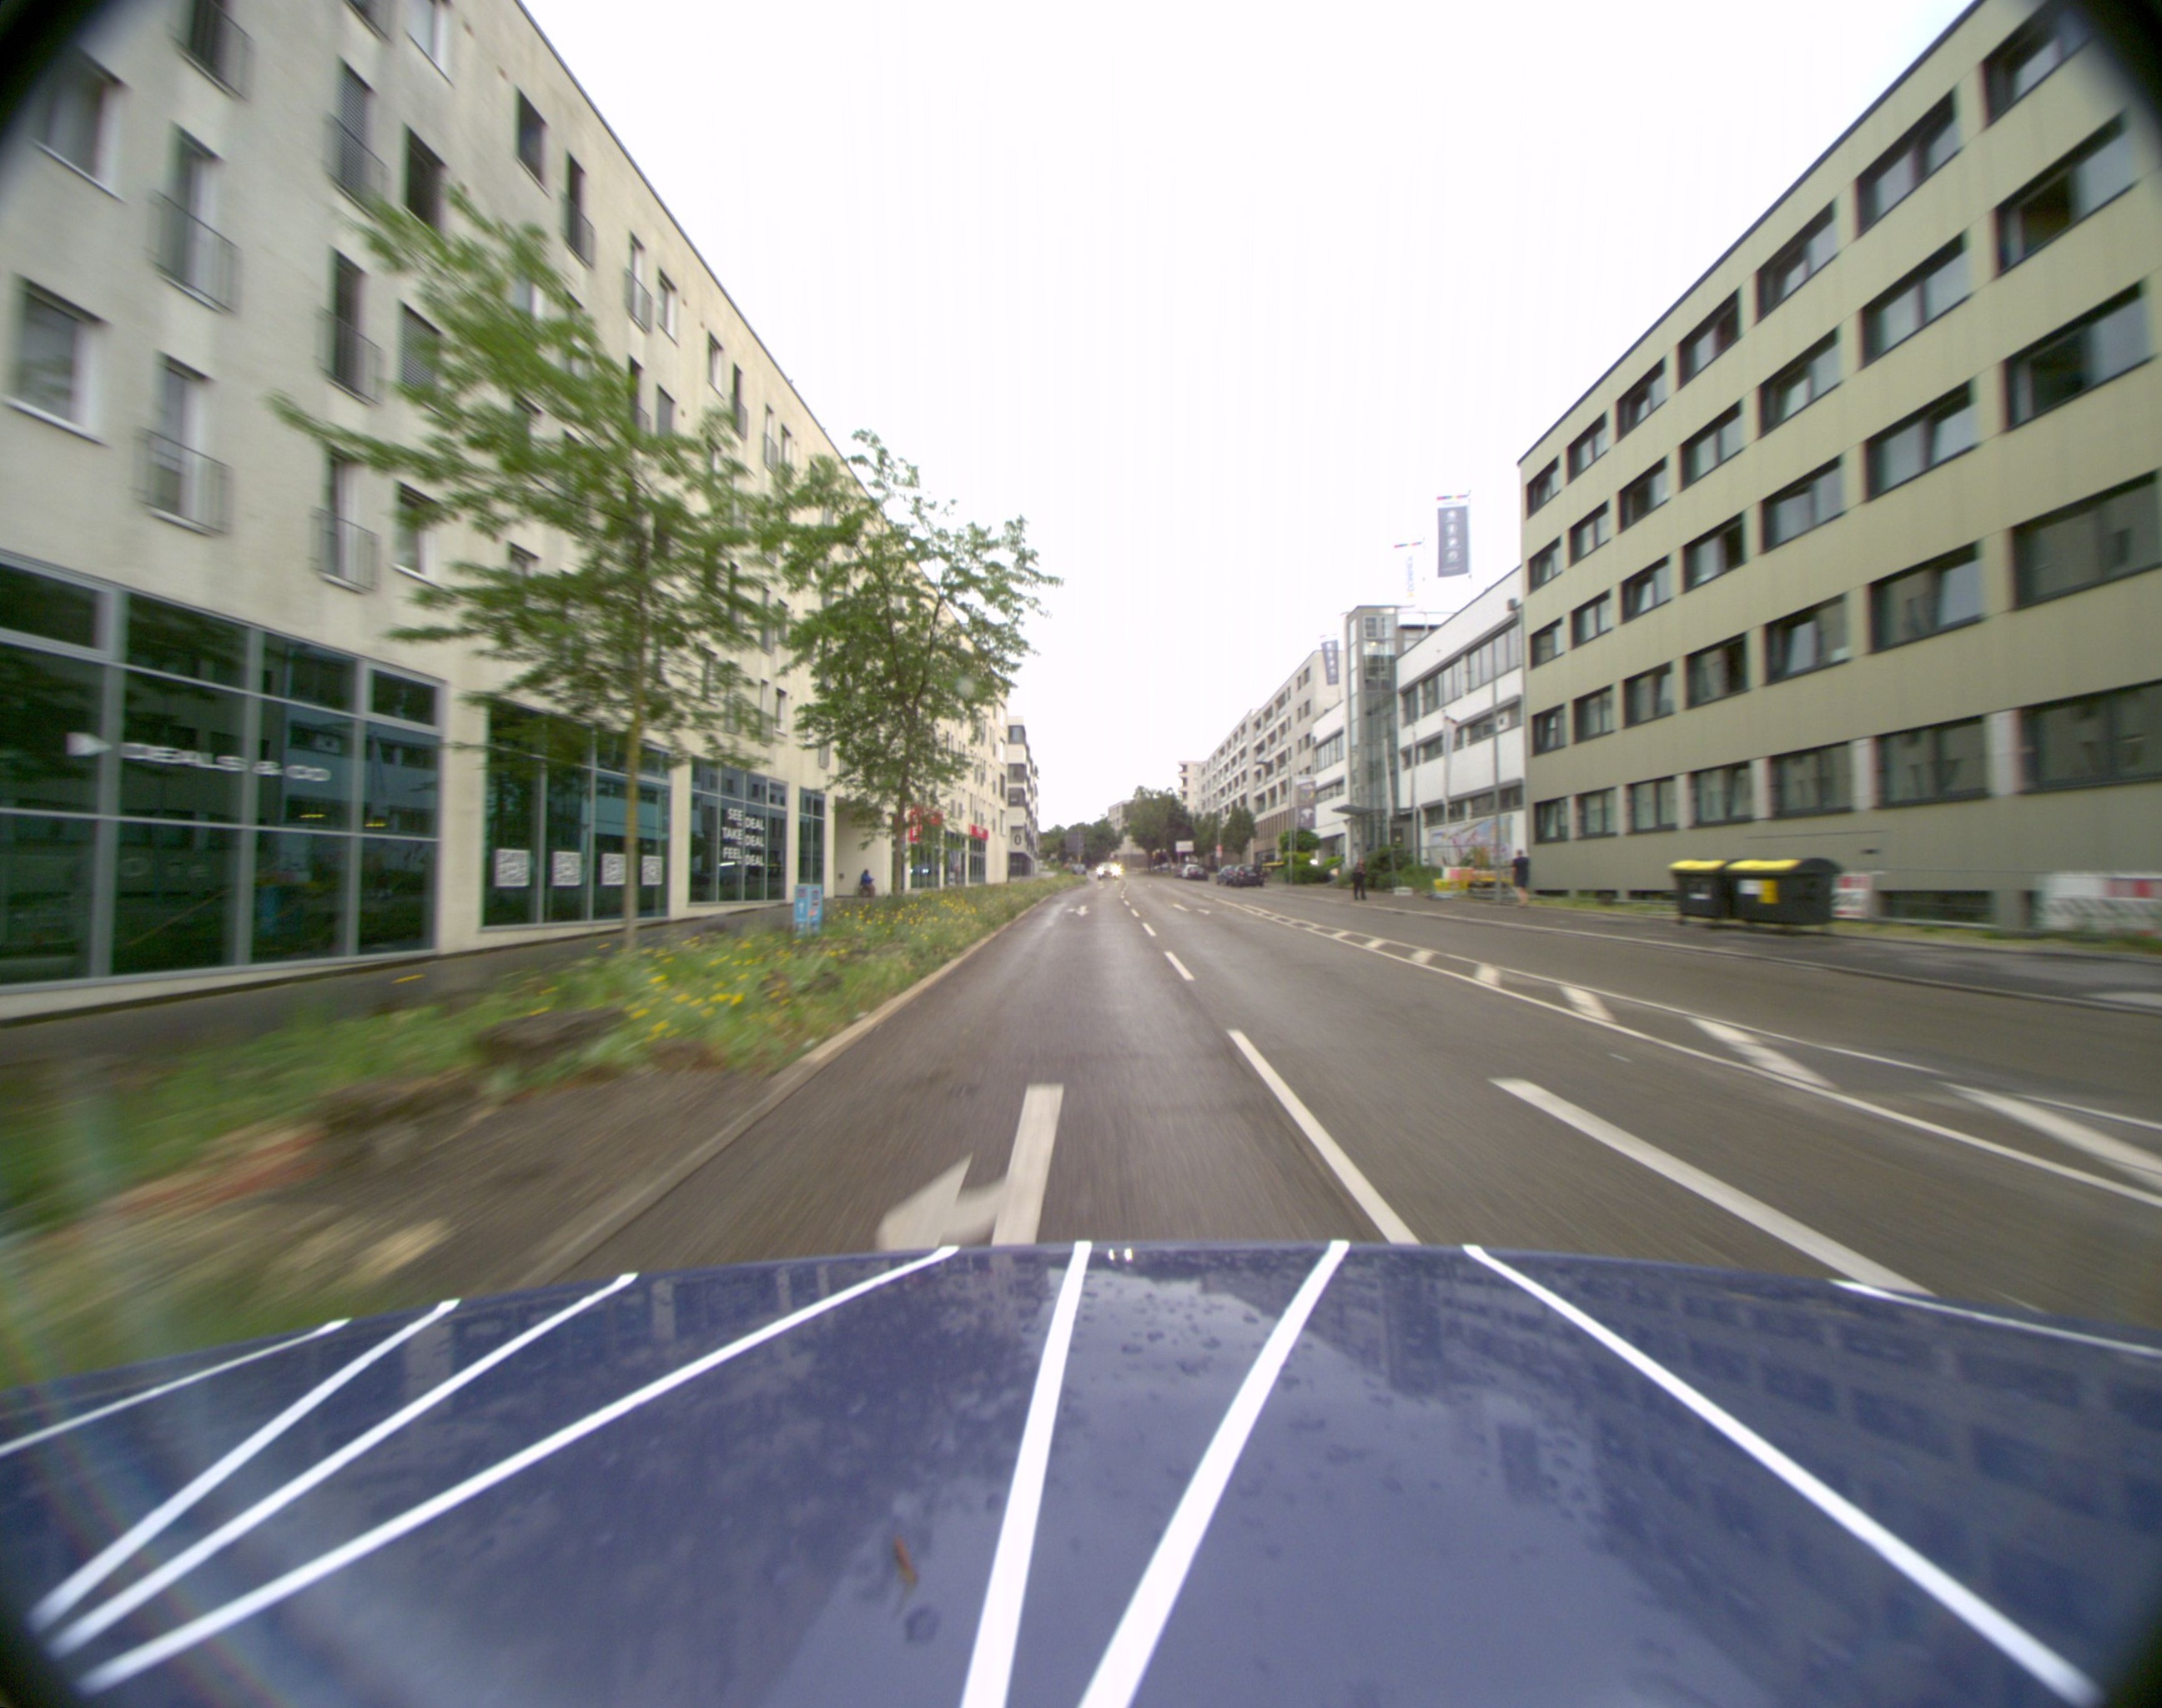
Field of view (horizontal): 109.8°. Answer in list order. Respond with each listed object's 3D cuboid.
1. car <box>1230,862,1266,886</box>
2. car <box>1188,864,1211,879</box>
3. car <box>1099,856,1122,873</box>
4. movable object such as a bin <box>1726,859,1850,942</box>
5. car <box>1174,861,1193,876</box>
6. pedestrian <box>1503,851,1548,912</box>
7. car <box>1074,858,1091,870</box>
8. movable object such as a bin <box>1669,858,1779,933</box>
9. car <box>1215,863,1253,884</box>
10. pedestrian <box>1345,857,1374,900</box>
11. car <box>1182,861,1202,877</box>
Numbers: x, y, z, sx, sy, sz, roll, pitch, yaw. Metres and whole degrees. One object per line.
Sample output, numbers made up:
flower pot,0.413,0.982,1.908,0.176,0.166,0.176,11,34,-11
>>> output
car,11.133,1.284,50.735,1.518,1.501,2.981,2,0,-3
car,11.577,1.679,74.361,1.662,1.383,3.739,2,0,0
car,2.891,0.994,73.784,1.998,1.565,4.001,-2,0,4
movable object such as a bin,13.246,0.844,14.296,1.056,1.437,1.358,-3,0,3
car,11.353,1.578,84.104,1.630,1.608,3.973,3,0,1
pedestrian,13.024,0.793,22.272,0.757,1.721,0.942,-2,0,5
car,0.217,1.308,100.148,1.998,1.477,4.001,-2,0,4
movable object such as a bin,13.316,0.838,15.788,1.056,1.437,1.431,-3,0,3
car,10.990,1.382,54.798,1.660,1.395,4.269,1,-1,-3
pedestrian,11.154,0.976,30.436,0.769,1.666,0.969,-2,0,3
car,11.530,1.547,79.190,1.597,1.459,3.422,3,0,0
